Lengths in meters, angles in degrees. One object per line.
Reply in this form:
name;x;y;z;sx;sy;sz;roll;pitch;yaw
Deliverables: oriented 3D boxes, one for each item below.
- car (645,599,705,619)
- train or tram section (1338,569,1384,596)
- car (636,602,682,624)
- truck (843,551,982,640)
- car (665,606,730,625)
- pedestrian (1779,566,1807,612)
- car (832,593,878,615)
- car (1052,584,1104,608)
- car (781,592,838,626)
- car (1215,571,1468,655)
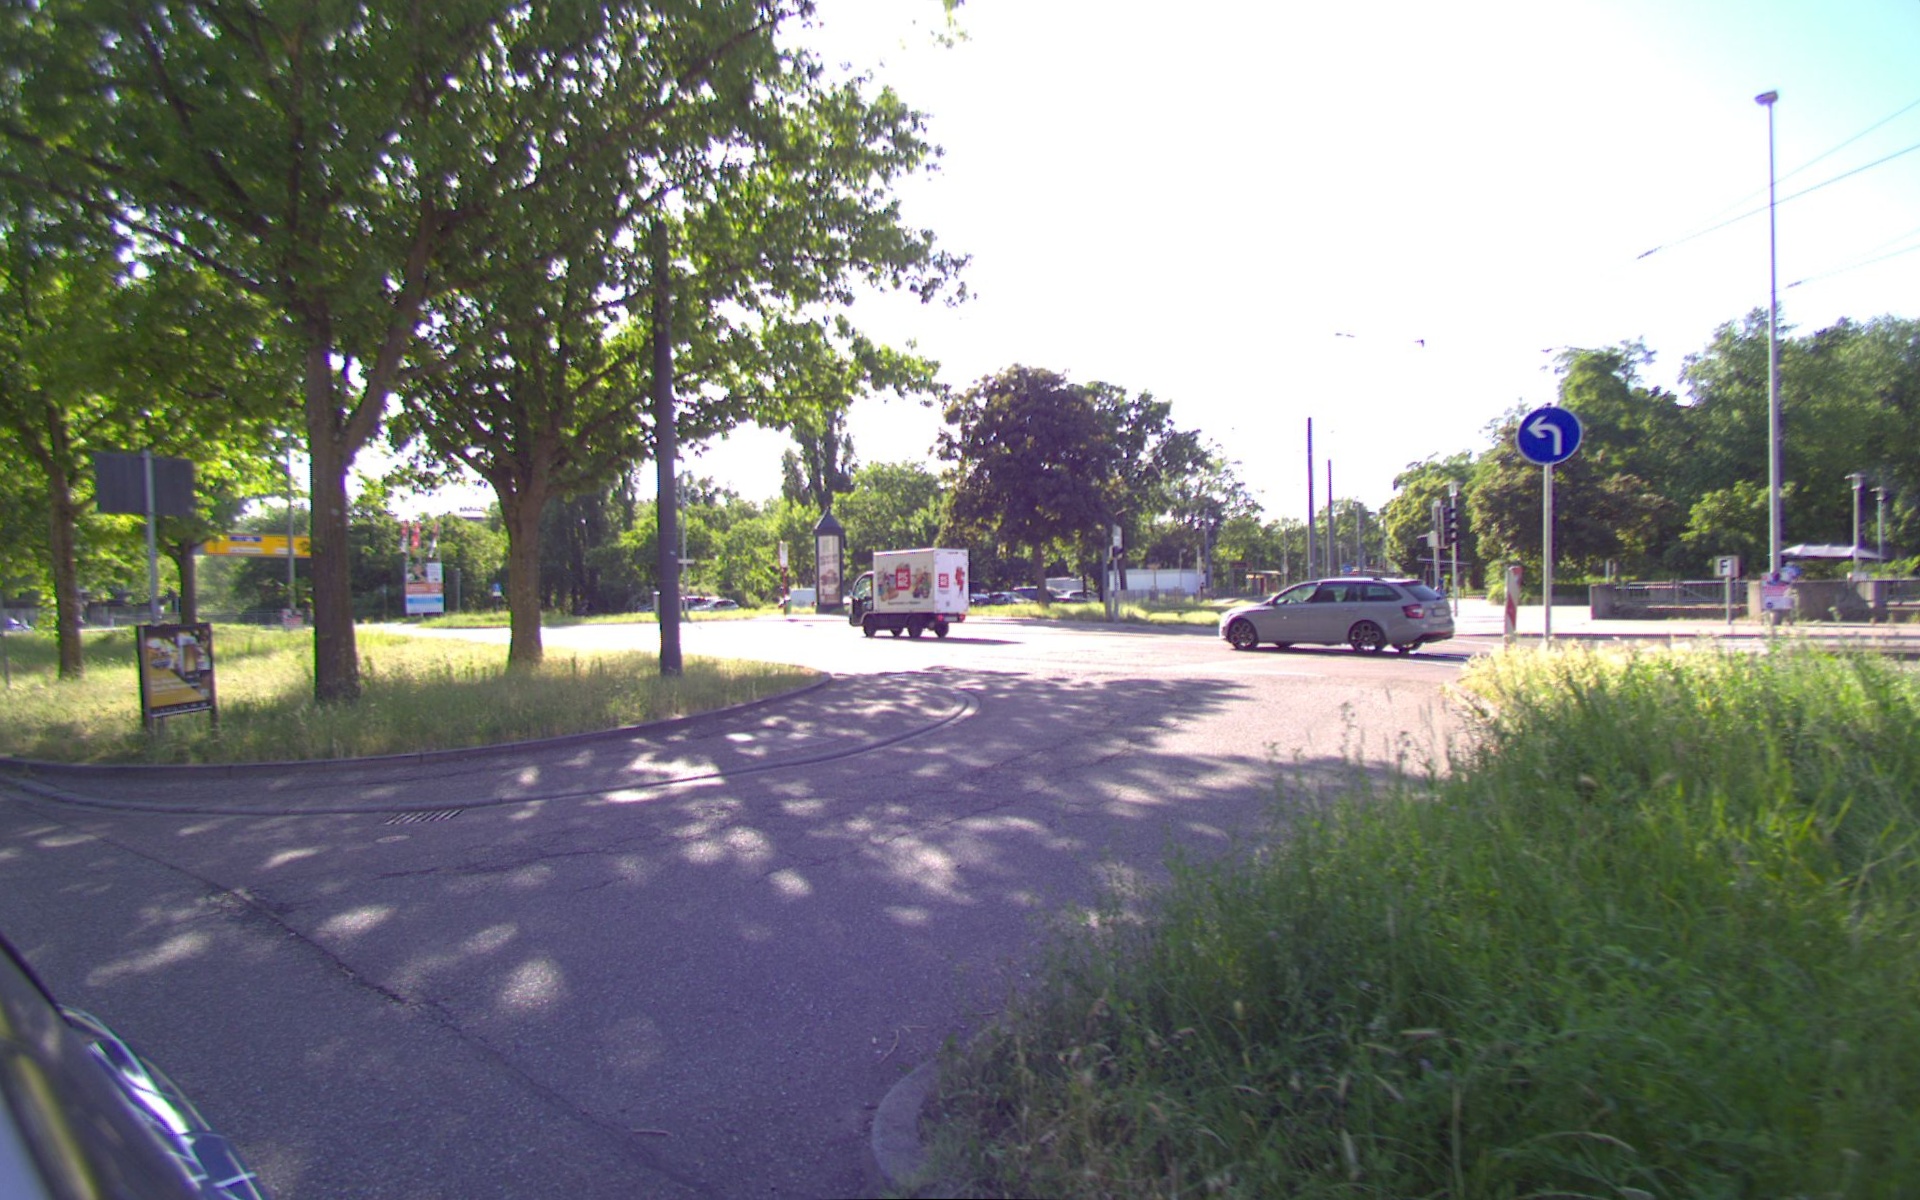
car;-24.293;0.758;86.405;4.499;1.475;1.997;-1;2;5
train or tram section;48.952;-2.218;123.094;2.459;2.962;19.646;-1;1;29
car;-20.749;0.892;69.662;1.792;1.459;4.009;-2;0;-36
truck;-1.461;-0.120;29.782;1.767;2.445;4.113;-2;1;-44
car;-17.283;1.021;66.590;3.981;1.137;1.805;-1;0;28
pedestrian;33.628;-0.448;40.851;0.550;1.843;0.729;-2;1;-34
car;-6.590;0.236;64.011;1.977;1.292;3.990;-1;1;8
car;9.358;-0.339;79.950;3.921;1.732;1.875;-2;0;11
car;-9.625;0.527;65.056;2.214;2.029;4.986;-2;0;9
car;7.378;0.231;19.953;1.643;1.459;4.408;-2;1;-41
